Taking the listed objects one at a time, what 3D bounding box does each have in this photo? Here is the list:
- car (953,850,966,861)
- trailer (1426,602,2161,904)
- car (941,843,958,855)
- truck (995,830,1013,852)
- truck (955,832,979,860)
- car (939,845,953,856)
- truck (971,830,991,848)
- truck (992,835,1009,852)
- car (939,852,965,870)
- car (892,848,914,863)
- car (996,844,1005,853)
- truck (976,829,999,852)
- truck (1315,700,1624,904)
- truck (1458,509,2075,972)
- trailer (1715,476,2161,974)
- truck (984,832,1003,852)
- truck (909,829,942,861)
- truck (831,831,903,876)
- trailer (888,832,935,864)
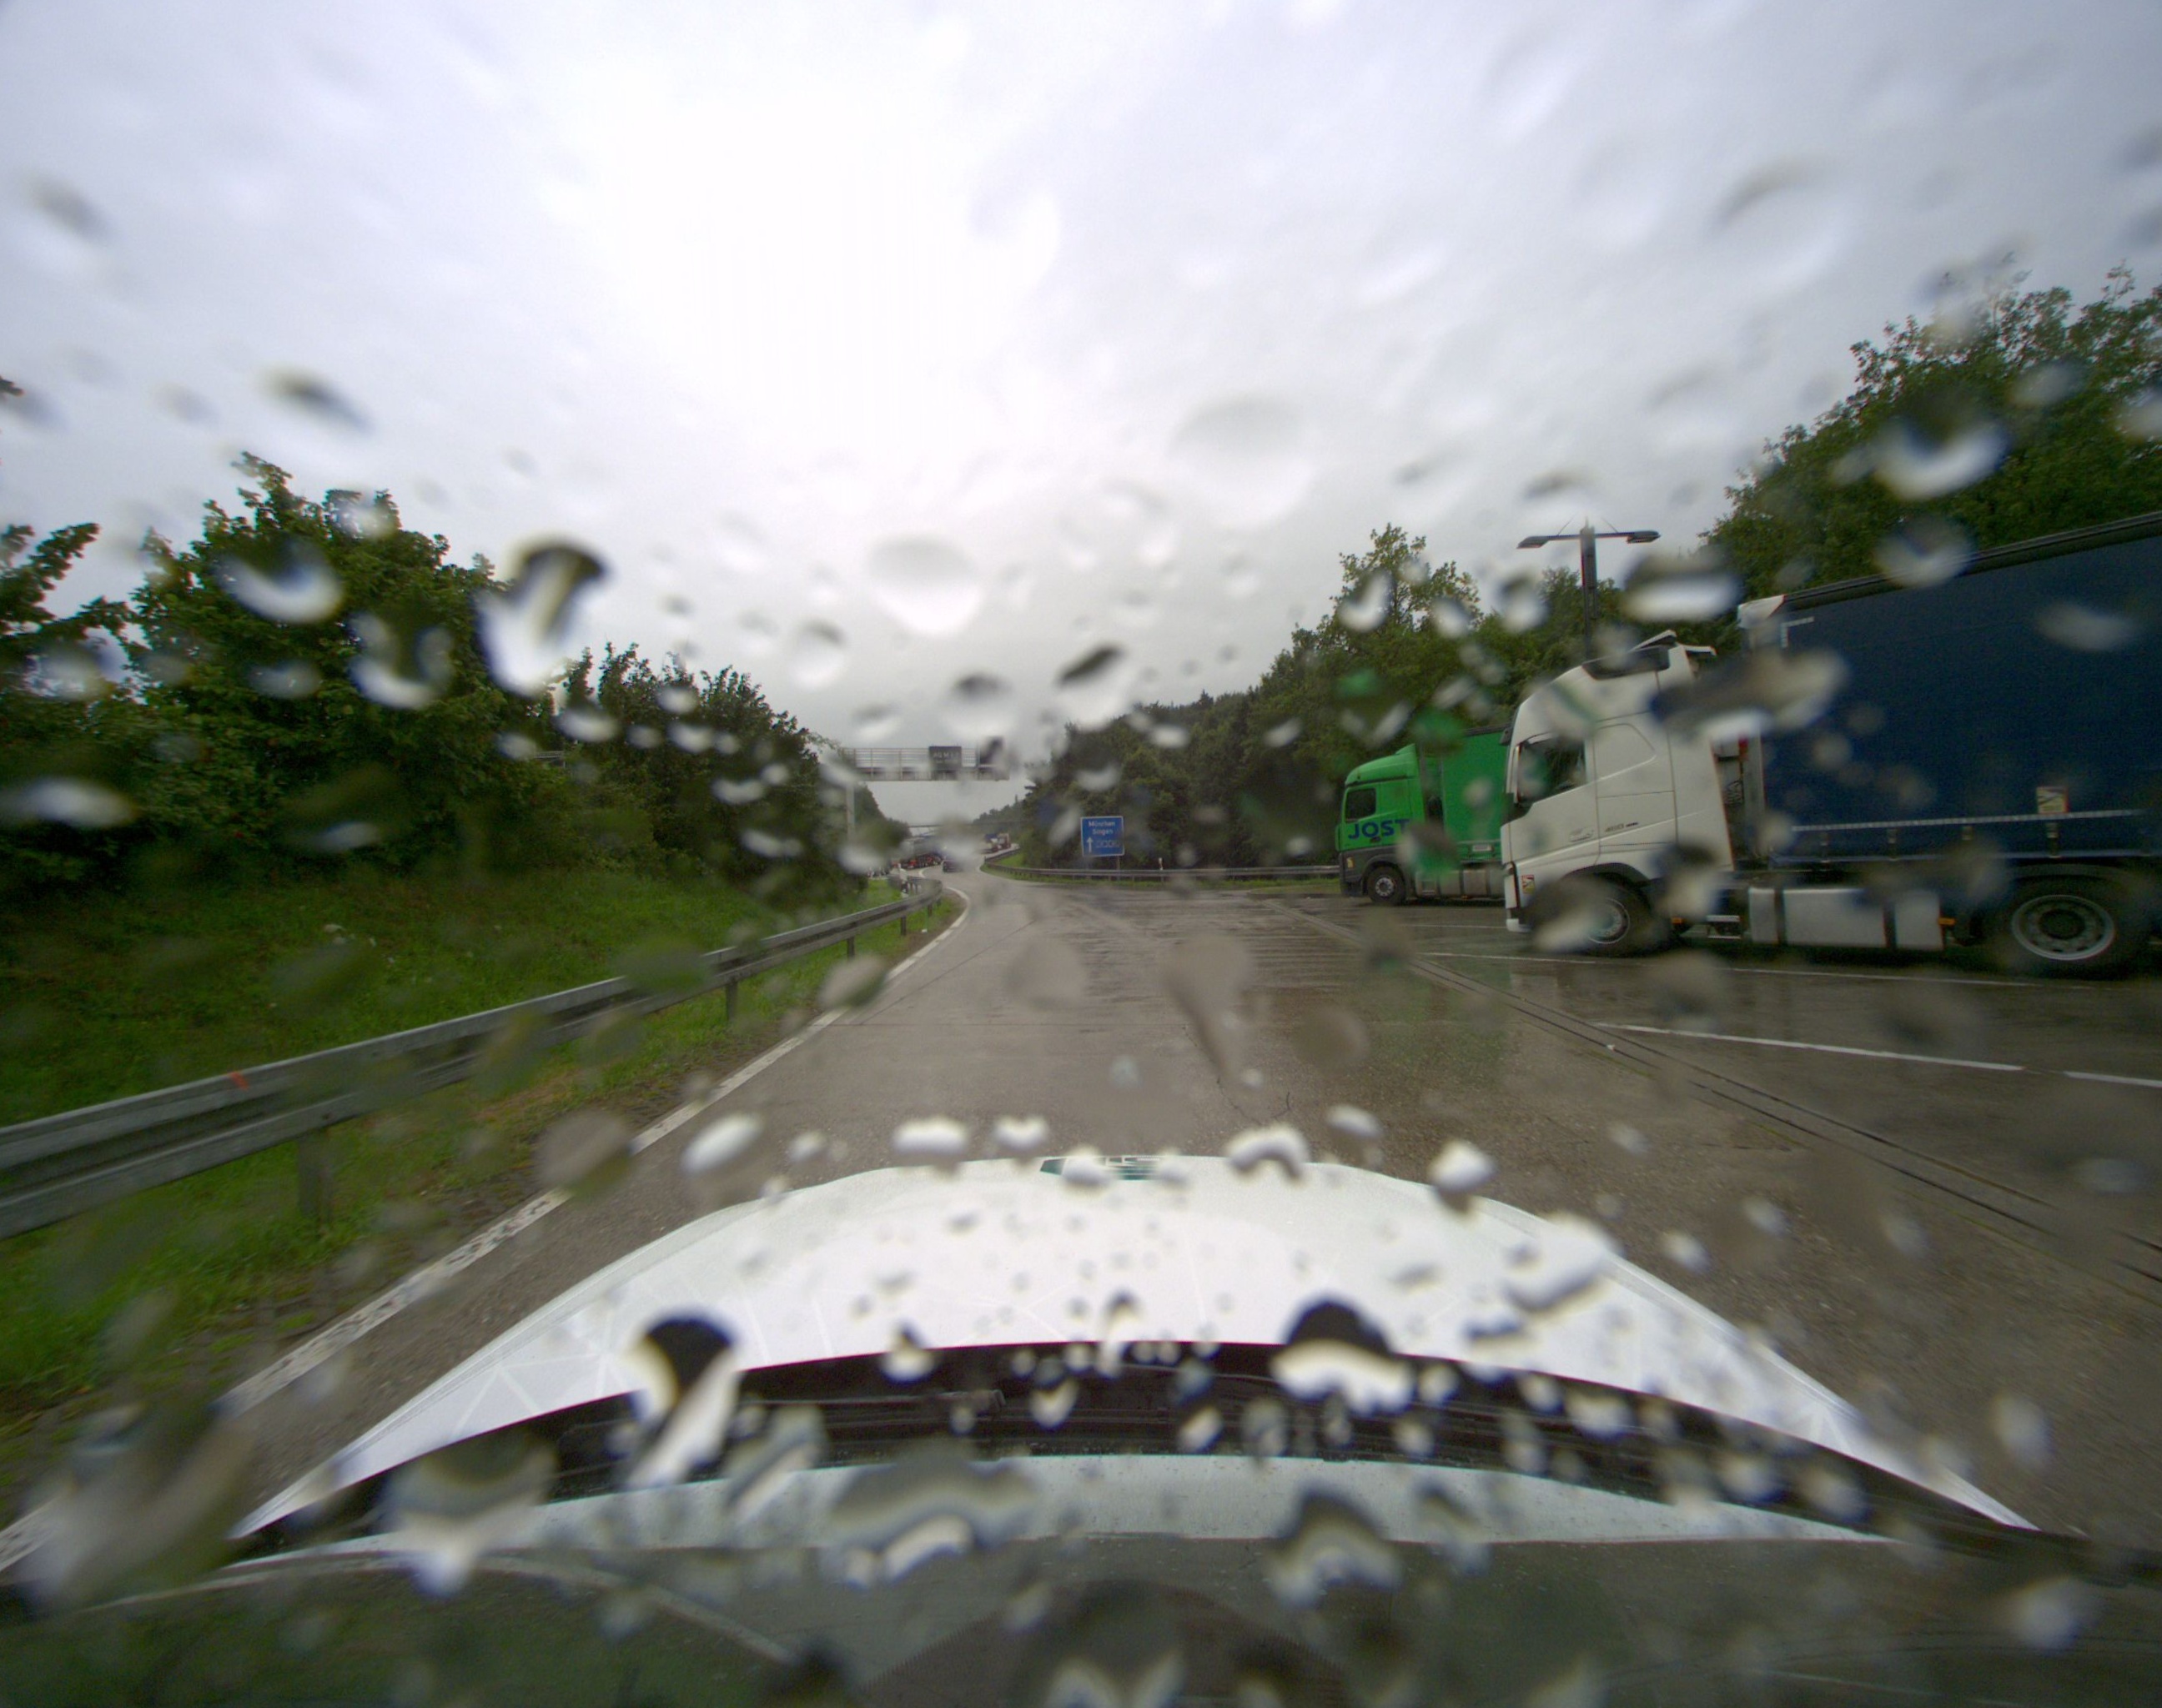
[{"bbox_3d":[-21.535,0.198,144.436,1.793,1.904,3.996,0,0,-2],"label":"car"},{"bbox_3d":[13.738,-1.295,14.637,2.842,4.149,13.798,-3,-1,-42],"label":"trailer"},{"bbox_3d":[-32.004,-1.228,198.505,3.237,3.002,6.769,0,0,-2],"label":"car"},{"bbox_3d":[-20.665,-3.503,218.957,4.327,5.763,9.718,0,0,-3],"label":"truck"},{"bbox_3d":[-22.914,-1.571,164.294,3.744,5.499,10.167,0,0,-1],"label":"truck"},{"bbox_3d":[-25.207,-0.667,152.158,1.793,1.903,3.998,-3,0,-1],"label":"car"},{"bbox_3d":[-24.627,-3.566,200.593,3.566,4.095,10.873,-3,0,-1],"label":"truck"},{"bbox_3d":[-19.786,-2.399,199.675,3.747,3.970,11.044,0,0,-4],"label":"truck"},{"bbox_3d":[-12.168,0.673,77.023,1.988,1.636,3.997,0,0,-2],"label":"car"},{"bbox_3d":[-22.207,0.163,101.631,1.814,1.766,3.999,-2,1,-1],"label":"car"},{"bbox_3d":[-18.421,-1.153,186.556,1.793,1.903,3.996,-3,0,-2],"label":"car"},{"bbox_3d":[-18.253,-2.732,159.973,3.592,4.104,11.548,-4,1,-3],"label":"truck"},{"bbox_3d":[9.192,-0.991,19.759,2.843,4.149,5.925,-3,-1,-42],"label":"truck"},{"bbox_3d":[8.101,-0.969,10.196,2.842,4.145,5.240,-3,-1,-41],"label":"truck"},{"bbox_3d":[12.742,-1.300,4.737,2.842,4.171,13.828,-3,-1,-40],"label":"trailer"},{"bbox_3d":[-18.902,-2.533,175.659,3.499,4.268,10.590,0,0,-3],"label":"truck"},{"bbox_3d":[-19.129,-1.191,100.361,2.867,3.693,5.057,-3,1,1],"label":"truck"},{"bbox_3d":[-19.192,-0.139,73.924,2.820,3.588,11.804,-4,1,2],"label":"truck"},{"bbox_3d":[-19.267,-0.815,93.499,2.863,3.288,10.082,-3,2,1],"label":"trailer"}]
